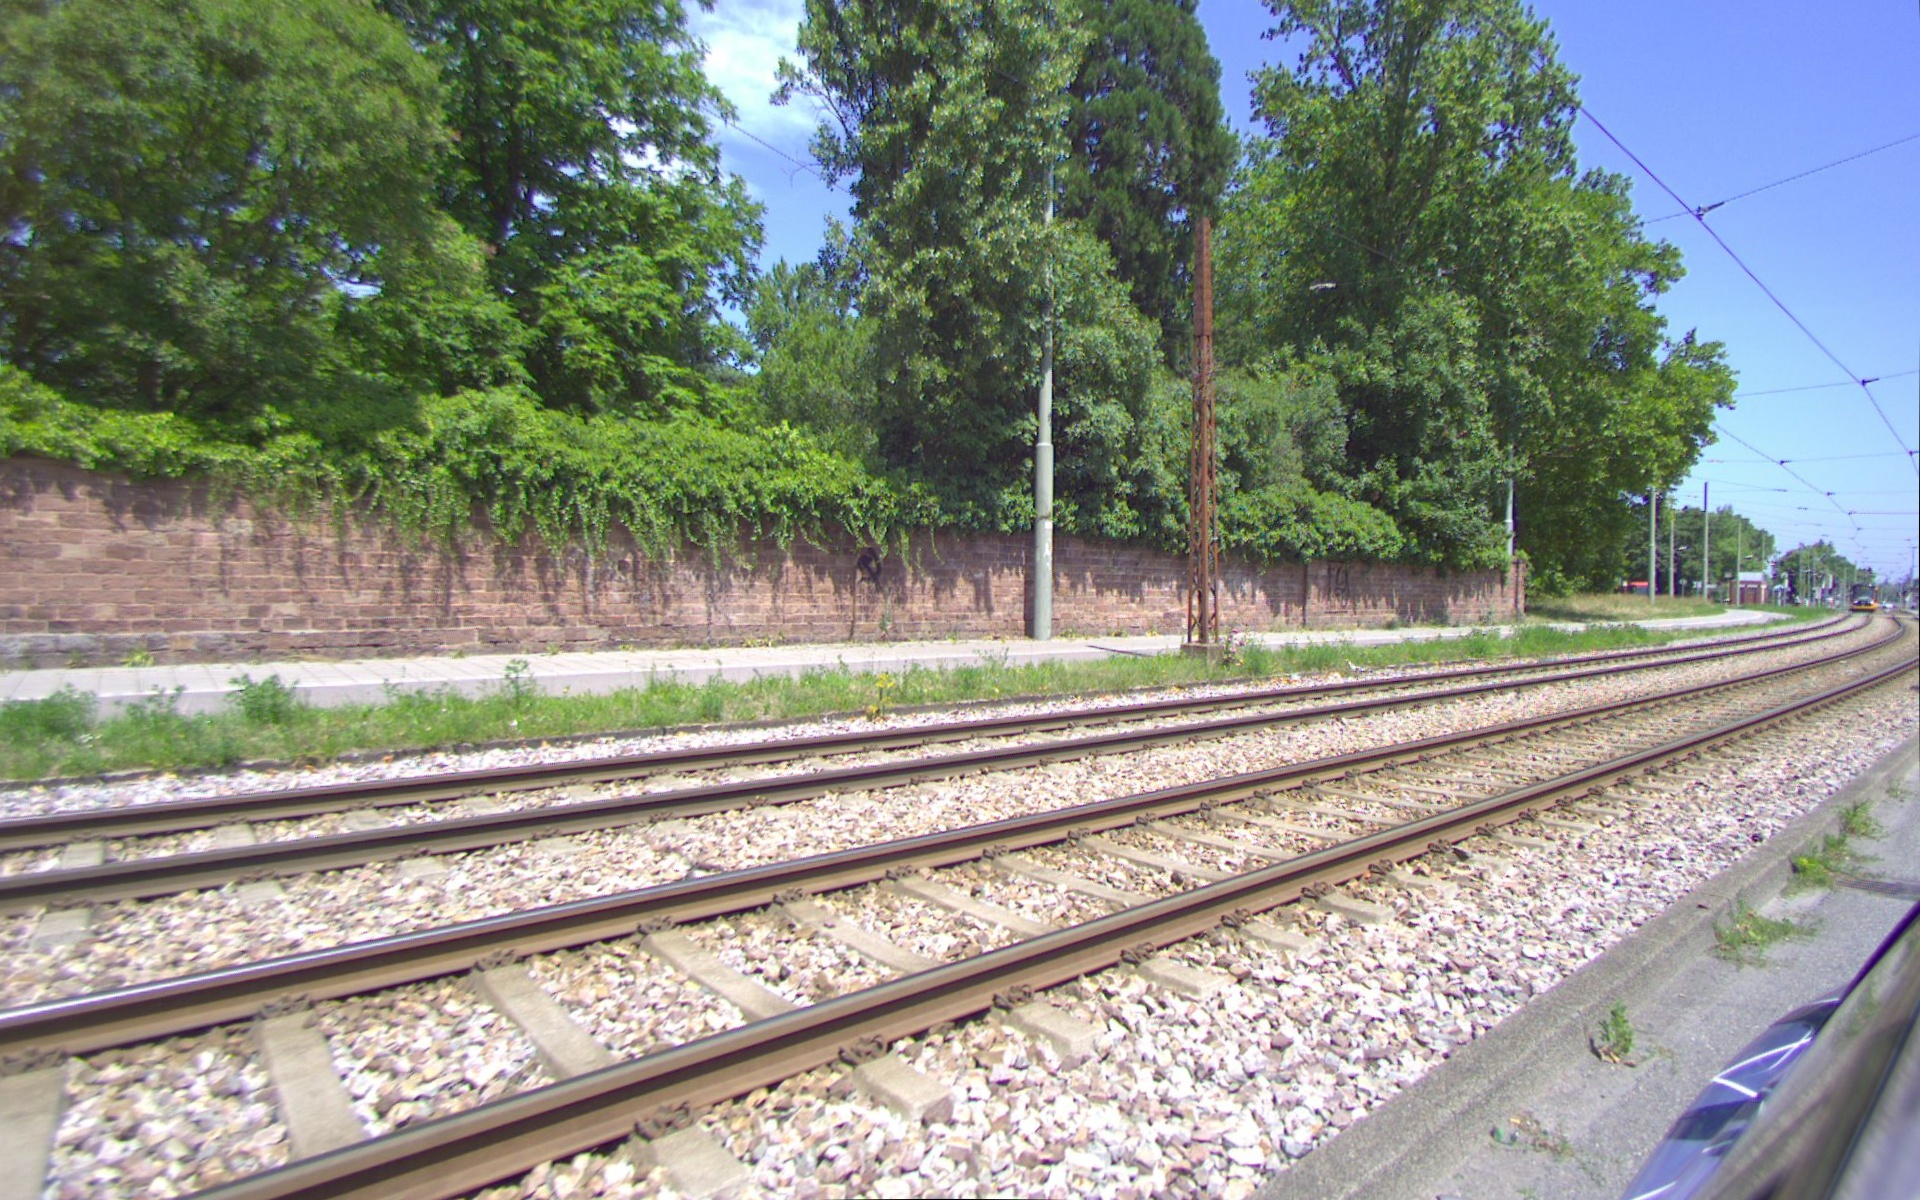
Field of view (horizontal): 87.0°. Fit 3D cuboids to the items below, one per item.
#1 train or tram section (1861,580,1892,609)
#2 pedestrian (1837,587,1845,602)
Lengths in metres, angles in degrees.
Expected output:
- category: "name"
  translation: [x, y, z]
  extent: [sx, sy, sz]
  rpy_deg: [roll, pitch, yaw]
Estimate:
- category: "train or tram section"
  translation: [112.728, -0.681, 124.489]
  extent: [2.519, 3.364, 7.144]
  rpy_deg: [2, 1, 44]
- category: "pedestrian"
  translation: [106.766, -0.711, 122.662]
  extent: [0.631, 1.781, 0.808]
  rpy_deg: [-1, 0, 30]
